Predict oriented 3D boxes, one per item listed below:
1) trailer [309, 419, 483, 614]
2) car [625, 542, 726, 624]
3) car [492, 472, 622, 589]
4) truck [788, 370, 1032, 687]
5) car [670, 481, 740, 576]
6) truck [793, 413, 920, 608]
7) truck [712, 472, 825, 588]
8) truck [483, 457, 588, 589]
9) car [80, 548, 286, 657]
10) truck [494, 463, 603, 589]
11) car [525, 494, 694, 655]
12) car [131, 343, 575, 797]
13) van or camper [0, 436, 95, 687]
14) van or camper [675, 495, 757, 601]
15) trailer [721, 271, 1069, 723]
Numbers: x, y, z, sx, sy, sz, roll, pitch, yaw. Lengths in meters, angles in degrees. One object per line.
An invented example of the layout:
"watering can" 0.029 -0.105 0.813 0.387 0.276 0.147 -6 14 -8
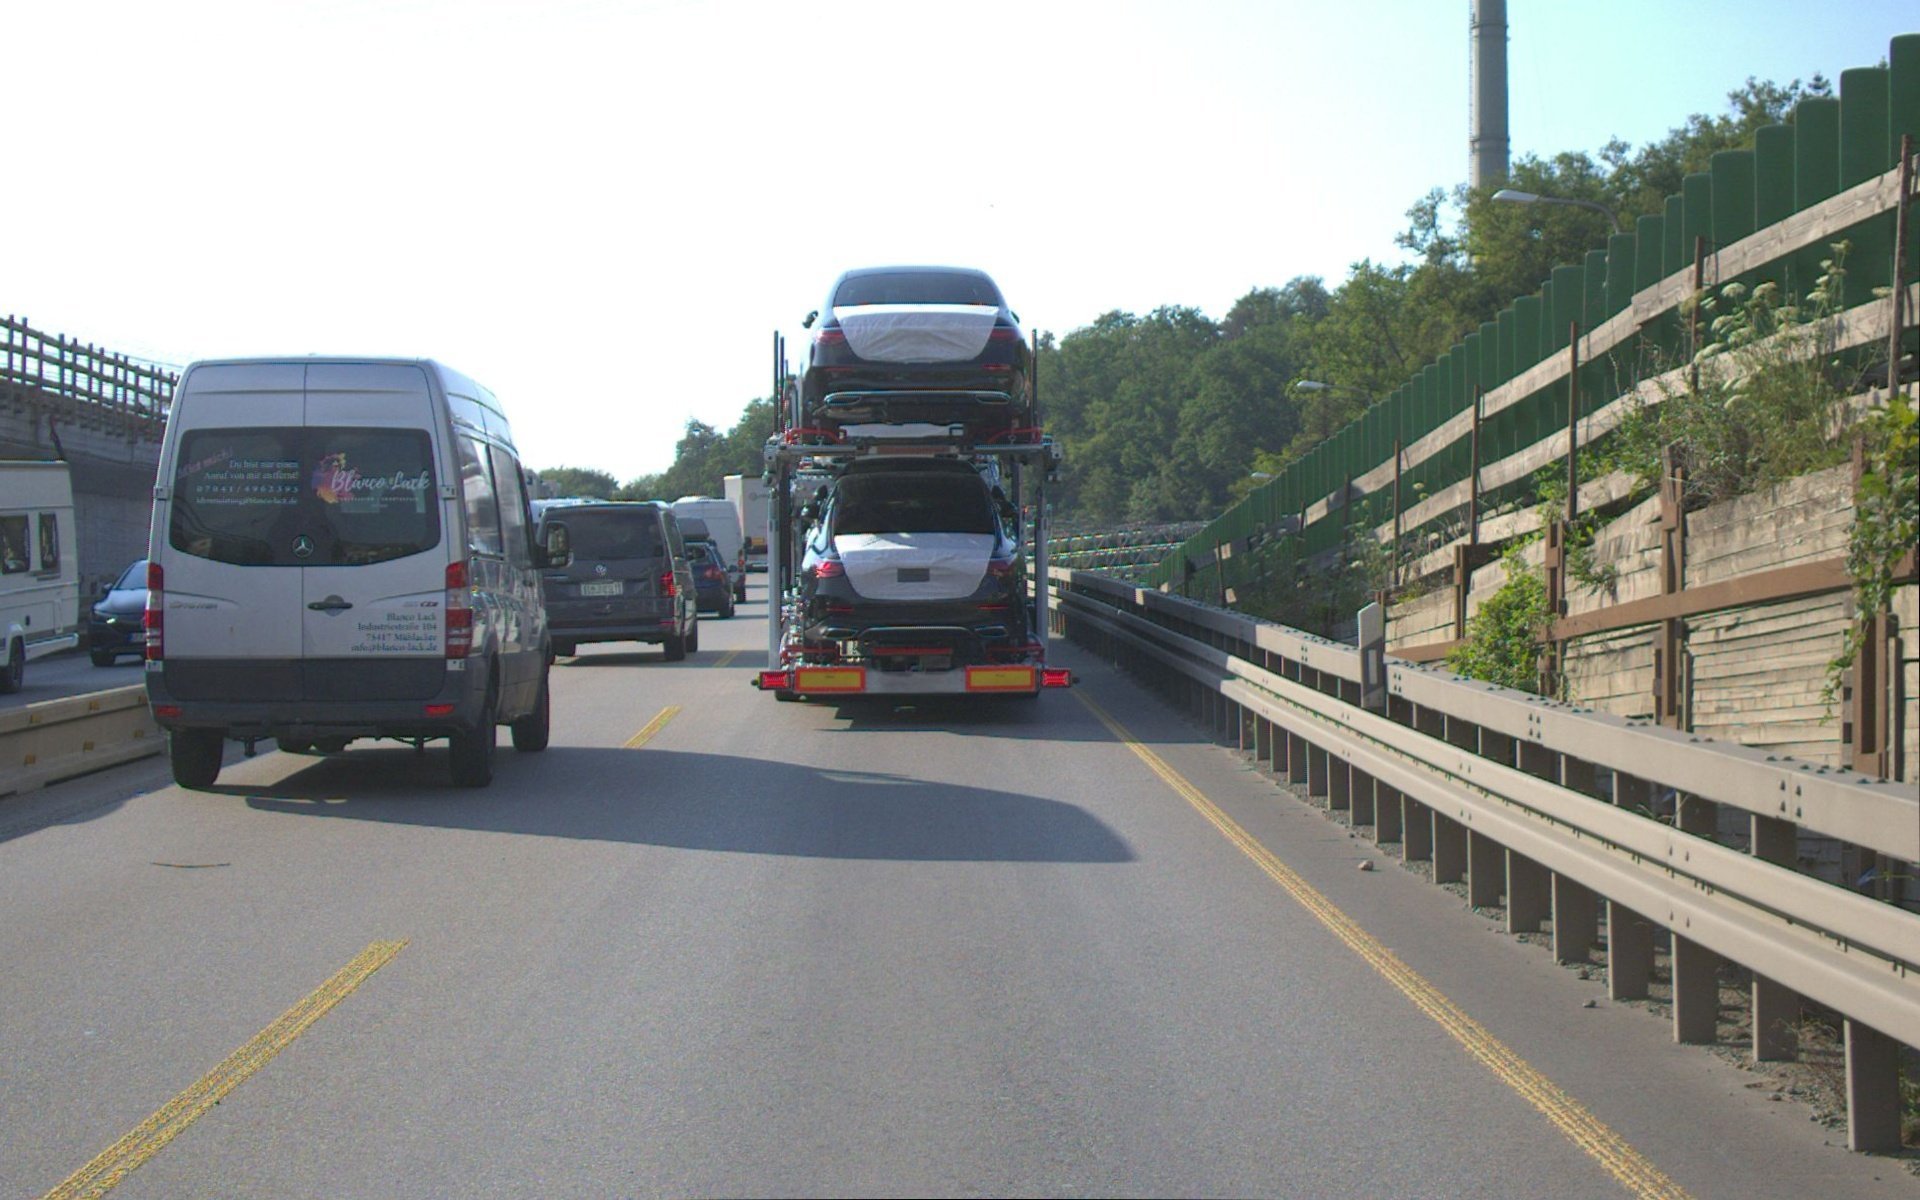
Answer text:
"trailer" -12.881 -1.915 79.229 2.605 4.098 9.629 -3 1 -2
"car" -5.576 -0.354 67.730 1.725 1.517 3.973 1 1 -2
"car" -8.997 -1.517 77.037 2.471 2.525 4.000 1 0 -1
"truck" -0.572 -0.811 42.486 2.682 3.523 7.193 1 0 0
"car" -14.095 -3.918 189.573 3.444 5.018 9.655 1 1 -6
"truck" -2.626 -2.167 85.016 2.907 4.591 7.287 0 1 -3
"truck" -8.166 -2.908 145.262 4.064 4.663 10.594 0 1 -7
"truck" -13.970 -2.498 113.554 2.982 4.139 7.394 1 1 -4
"car" -11.072 -0.004 49.319 1.972 1.416 4.900 -2 1 -2
"truck" -14.536 -2.567 122.448 2.982 4.139 15.858 1 1 -4
"car" -4.384 -0.291 43.492 1.808 1.897 4.000 1 0 -2
"car" -3.843 -0.217 22.768 1.993 2.639 5.531 0 1 0
"van or camper" -11.340 -0.401 37.268 2.312 2.653 6.455 -1 1 -1
"van or camper" -6.185 -1.281 87.245 1.968 2.583 5.042 1 0 -4
"trailer" -0.538 -0.825 34.920 2.682 3.523 15.288 1 0 0
